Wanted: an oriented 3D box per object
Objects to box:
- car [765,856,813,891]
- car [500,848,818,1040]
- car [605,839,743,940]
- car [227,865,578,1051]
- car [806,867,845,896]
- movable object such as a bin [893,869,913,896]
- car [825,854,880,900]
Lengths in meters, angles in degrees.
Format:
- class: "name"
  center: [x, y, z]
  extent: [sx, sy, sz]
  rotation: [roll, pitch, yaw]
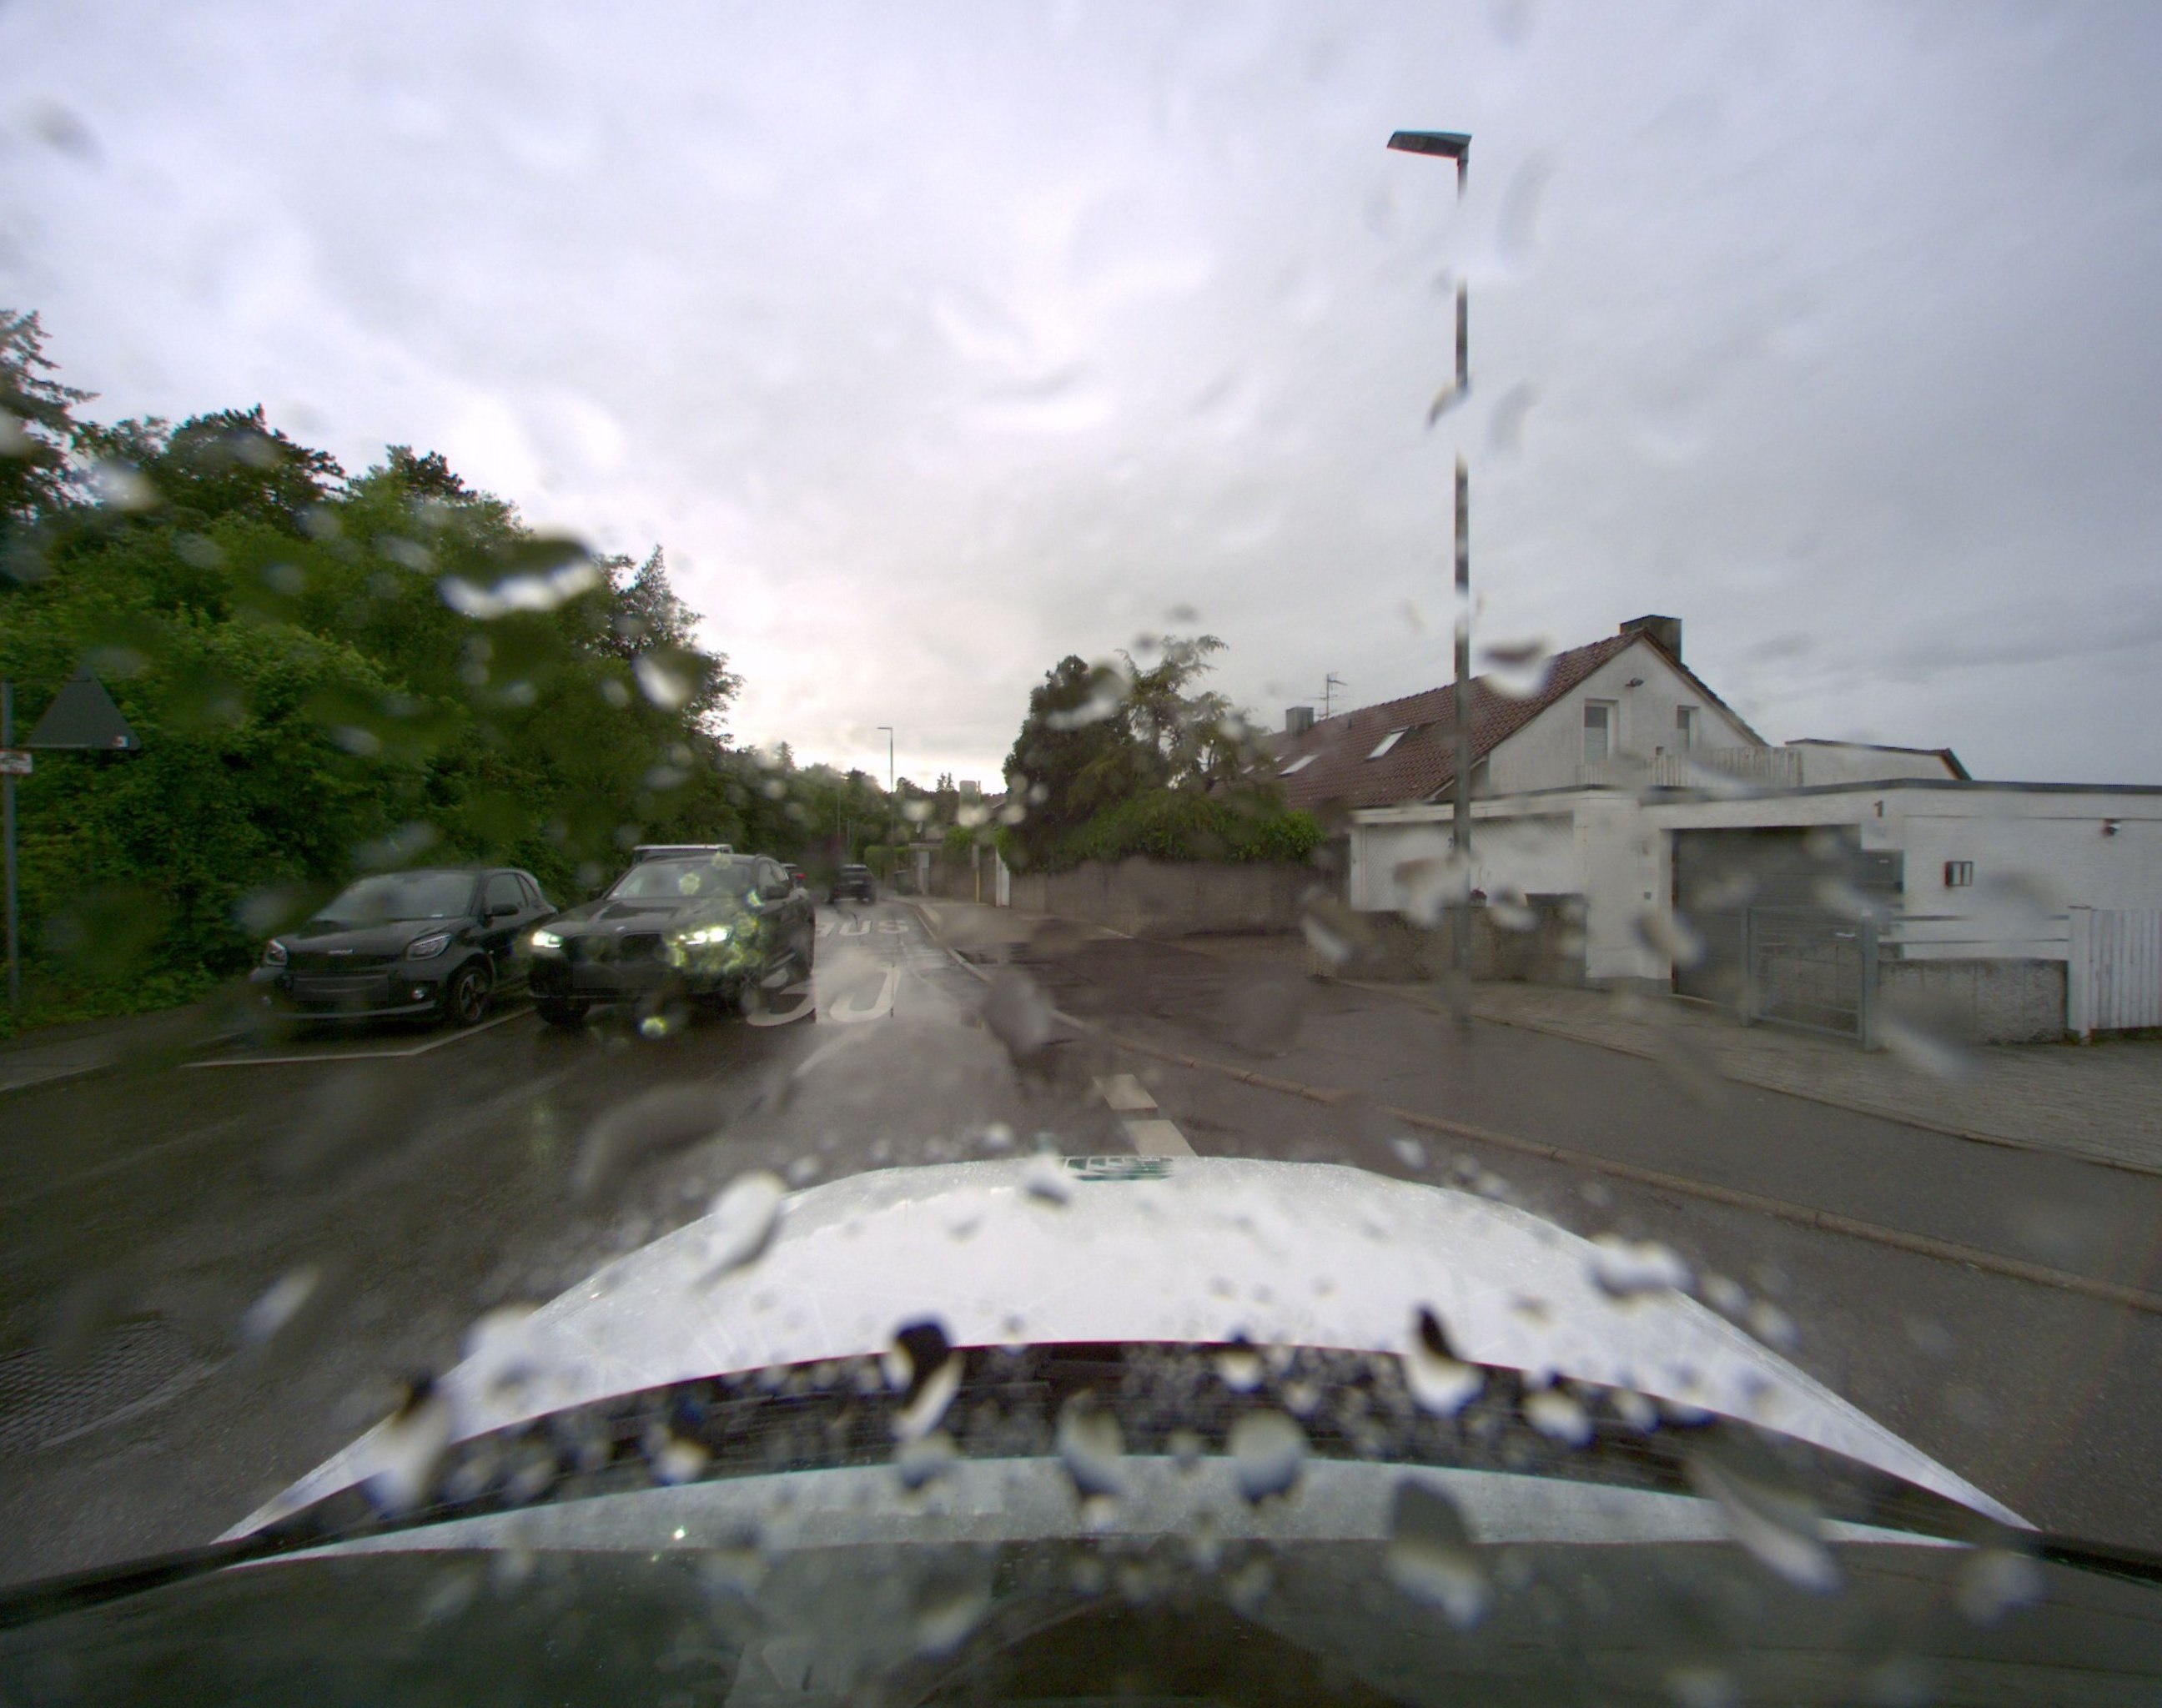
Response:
- class: "car"
  center: [-14.300, 0.919, 39.780]
  extent: [2.002, 1.605, 4.375]
  rotation: [0, 0, -23]
- class: "car"
  center: [-4.368, 0.786, 9.295]
  extent: [1.930, 1.605, 4.329]
  rotation: [-1, 0, -9]
- class: "car"
  center: [-9.295, 0.725, 19.069]
  extent: [2.118, 1.974, 5.140]
  rotation: [-1, 0, -18]
- class: "car"
  center: [-6.730, 0.897, 8.495]
  extent: [1.603, 1.511, 2.930]
  rotation: [-1, 0, -12]
- class: "car"
  center: [-14.210, 1.497, 45.174]
  extent: [1.763, 1.462, 4.269]
  rotation: [0, 0, -22]
- class: "movable object such as a bin"
  center: [-7.784, 1.237, 35.514]
  extent: [0.741, 1.088, 0.596]
  rotation: [-3, 1, -19]
- class: "car"
  center: [-8.734, 0.939, 31.135]
  extent: [1.872, 1.513, 4.069]
  rotation: [1, -5, -16]
